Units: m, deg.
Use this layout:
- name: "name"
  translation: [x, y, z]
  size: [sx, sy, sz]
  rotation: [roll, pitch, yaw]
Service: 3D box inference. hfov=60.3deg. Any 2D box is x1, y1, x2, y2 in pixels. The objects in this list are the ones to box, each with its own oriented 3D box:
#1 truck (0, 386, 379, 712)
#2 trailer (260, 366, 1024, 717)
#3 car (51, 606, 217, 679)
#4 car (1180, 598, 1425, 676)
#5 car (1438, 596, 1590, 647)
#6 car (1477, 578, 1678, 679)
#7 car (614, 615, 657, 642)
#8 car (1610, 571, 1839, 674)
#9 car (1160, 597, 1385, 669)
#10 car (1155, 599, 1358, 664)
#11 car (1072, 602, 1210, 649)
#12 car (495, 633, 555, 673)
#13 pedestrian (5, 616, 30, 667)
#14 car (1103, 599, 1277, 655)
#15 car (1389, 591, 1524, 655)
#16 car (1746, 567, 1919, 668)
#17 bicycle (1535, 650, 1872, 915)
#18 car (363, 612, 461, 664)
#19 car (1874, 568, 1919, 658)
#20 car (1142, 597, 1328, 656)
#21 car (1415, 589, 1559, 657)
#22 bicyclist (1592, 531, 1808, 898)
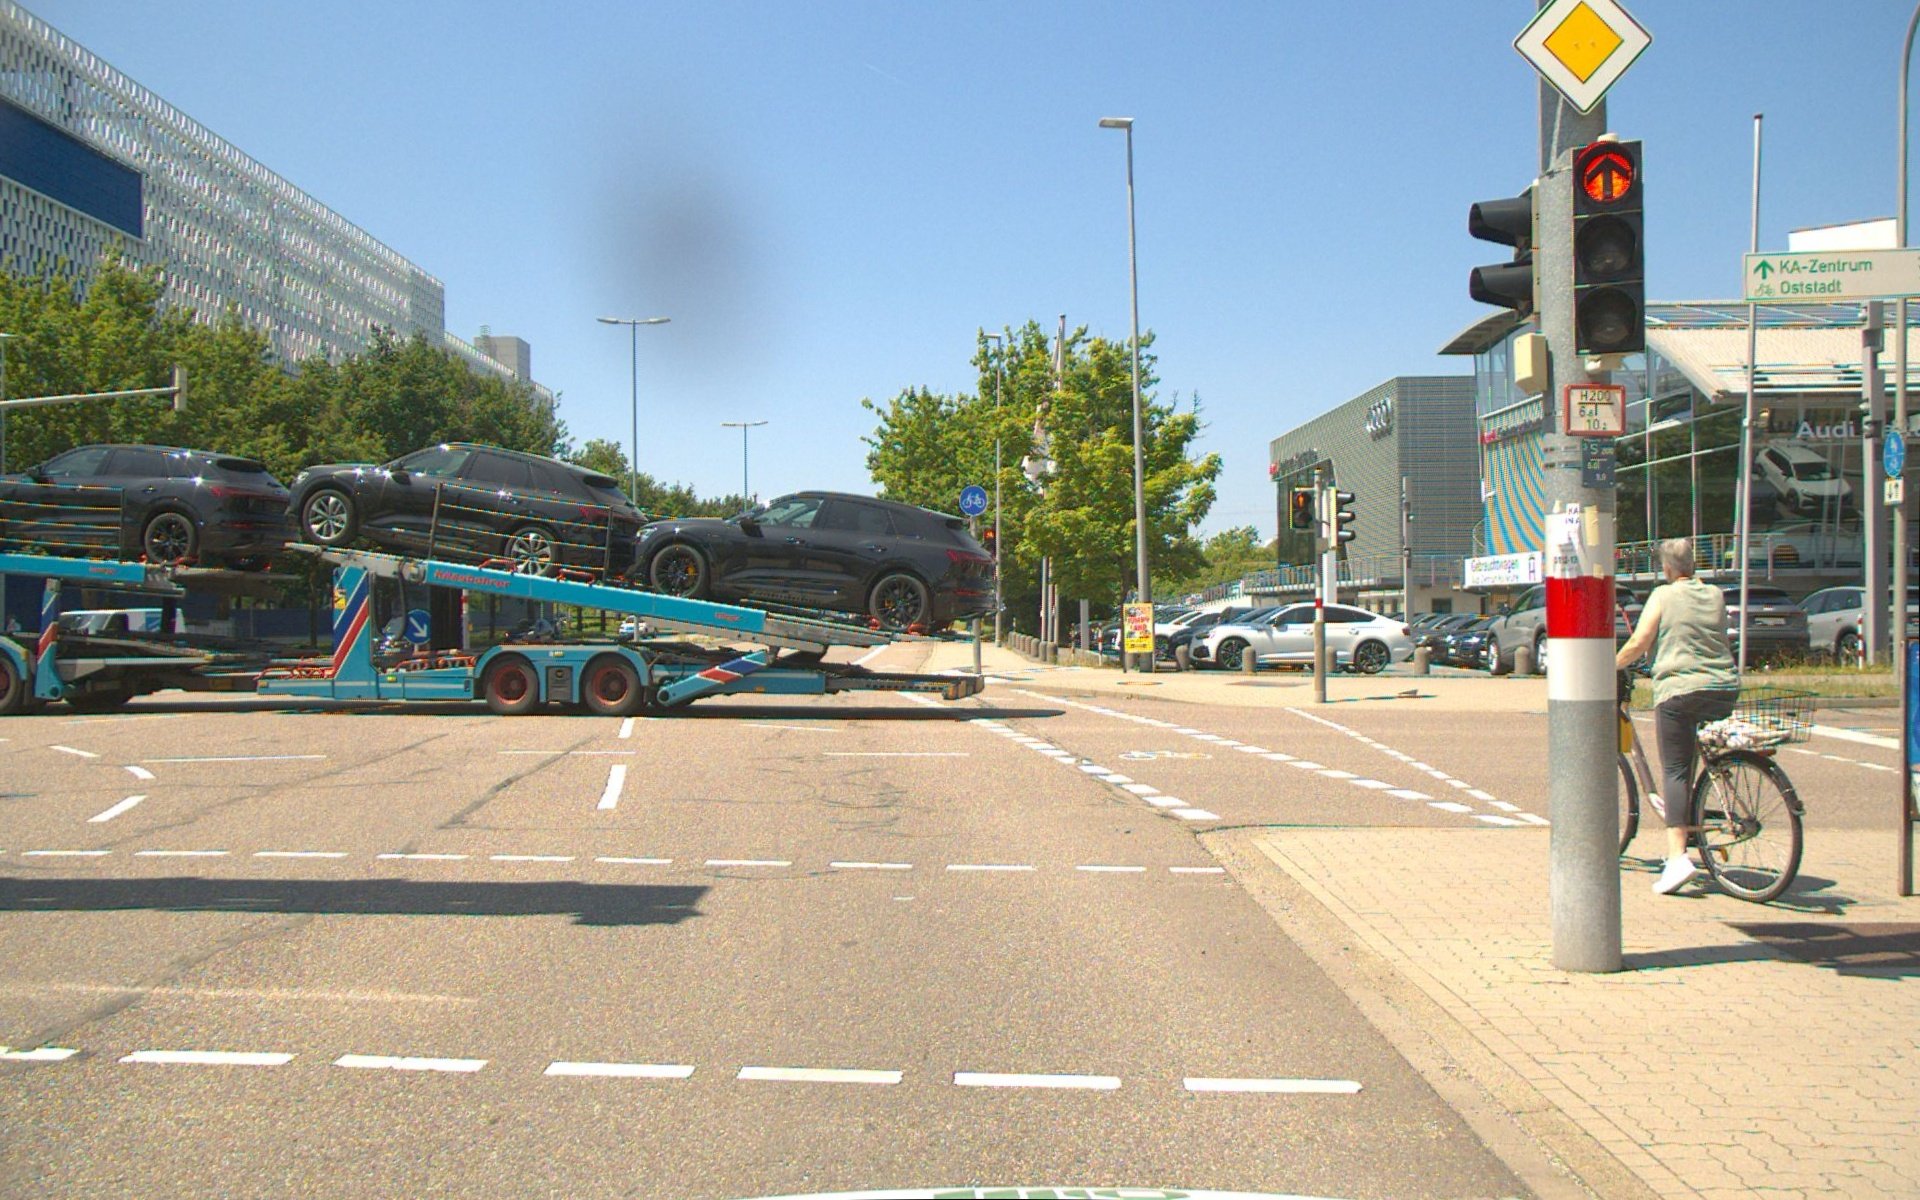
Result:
- name: "truck"
  translation: [-13.868, -0.618, 23.490]
  size: [10.390, 4.154, 3.103]
  rotation: [0, -1, 10]
- name: "trailer"
  translation: [-4.031, -0.657, 21.861]
  size: [9.406, 4.153, 3.097]
  rotation: [0, -1, 10]
- name: "car"
  translation: [-24.366, 1.219, 49.023]
  size: [1.951, 2.043, 4.768]
  rotation: [-1, -1, 10]
- name: "car"
  translation: [6.964, 0.735, 34.012]
  size: [4.643, 1.482, 2.000]
  rotation: [-1, 0, 1]
- name: "car"
  translation: [16.769, 0.630, 50.174]
  size: [4.008, 1.486, 1.719]
  rotation: [-1, 0, -1]
- name: "car"
  translation: [11.008, 0.462, 29.825]
  size: [1.953, 1.668, 4.267]
  rotation: [-1, 0, -1]
- name: "car"
  translation: [-21.592, 1.874, 110.079]
  size: [1.886, 1.694, 4.089]
  rotation: [-1, -1, 2]
- name: "car"
  translation: [13.626, 0.358, 29.823]
  size: [1.953, 1.668, 4.557]
  rotation: [-1, 0, -1]
- name: "car"
  translation: [6.881, 0.736, 36.763]
  size: [4.643, 1.482, 2.000]
  rotation: [-1, -1, 1]
- name: "car"
  translation: [7.190, 0.745, 40.463]
  size: [4.643, 1.482, 2.000]
  rotation: [-1, 0, 1]
- name: "car"
  translation: [6.478, 0.894, 59.437]
  size: [4.647, 1.482, 1.999]
  rotation: [-2, 0, -3]
- name: "car"
  translation: [-22.969, 2.797, 87.533]
  size: [1.952, 2.049, 4.001]
  rotation: [-1, -2, 3]
- name: "pedestrian"
  translation: [-28.204, 1.244, 49.487]
  size: [0.452, 1.508, 0.484]
  rotation: [-1, -1, 3]
- name: "car"
  translation: [6.532, 0.746, 47.337]
  size: [4.646, 1.482, 1.999]
  rotation: [-1, 0, -3]
- name: "car"
  translation: [16.567, 0.757, 55.329]
  size: [3.905, 2.049, 2.000]
  rotation: [-1, 0, 0]
- name: "car"
  translation: [16.322, 0.262, 29.988]
  size: [1.953, 1.668, 4.440]
  rotation: [-1, 0, -1]
- name: "bicycle"
  translation: [3.770, 0.869, 8.593]
  size: [0.771, 1.147, 1.919]
  rotation: [0, 0, -5]
- name: "car"
  translation: [-18.486, 1.261, 56.003]
  size: [1.837, 1.626, 4.495]
  rotation: [-1, -1, -1]
- name: "car"
  translation: [18.786, 0.231, 29.995]
  size: [1.847, 1.668, 4.524]
  rotation: [-1, 0, -1]
- name: "car"
  translation: [7.375, 0.706, 44.631]
  size: [4.646, 1.482, 1.999]
  rotation: [-1, 0, -3]
- name: "car"
  translation: [16.681, 0.715, 52.516]
  size: [3.905, 2.049, 2.000]
  rotation: [-1, 0, 0]
- name: "bicyclist"
  translation: [3.755, 0.557, 8.440]
  size: [0.719, 1.779, 0.753]
  rotation: [0, 0, -5]
